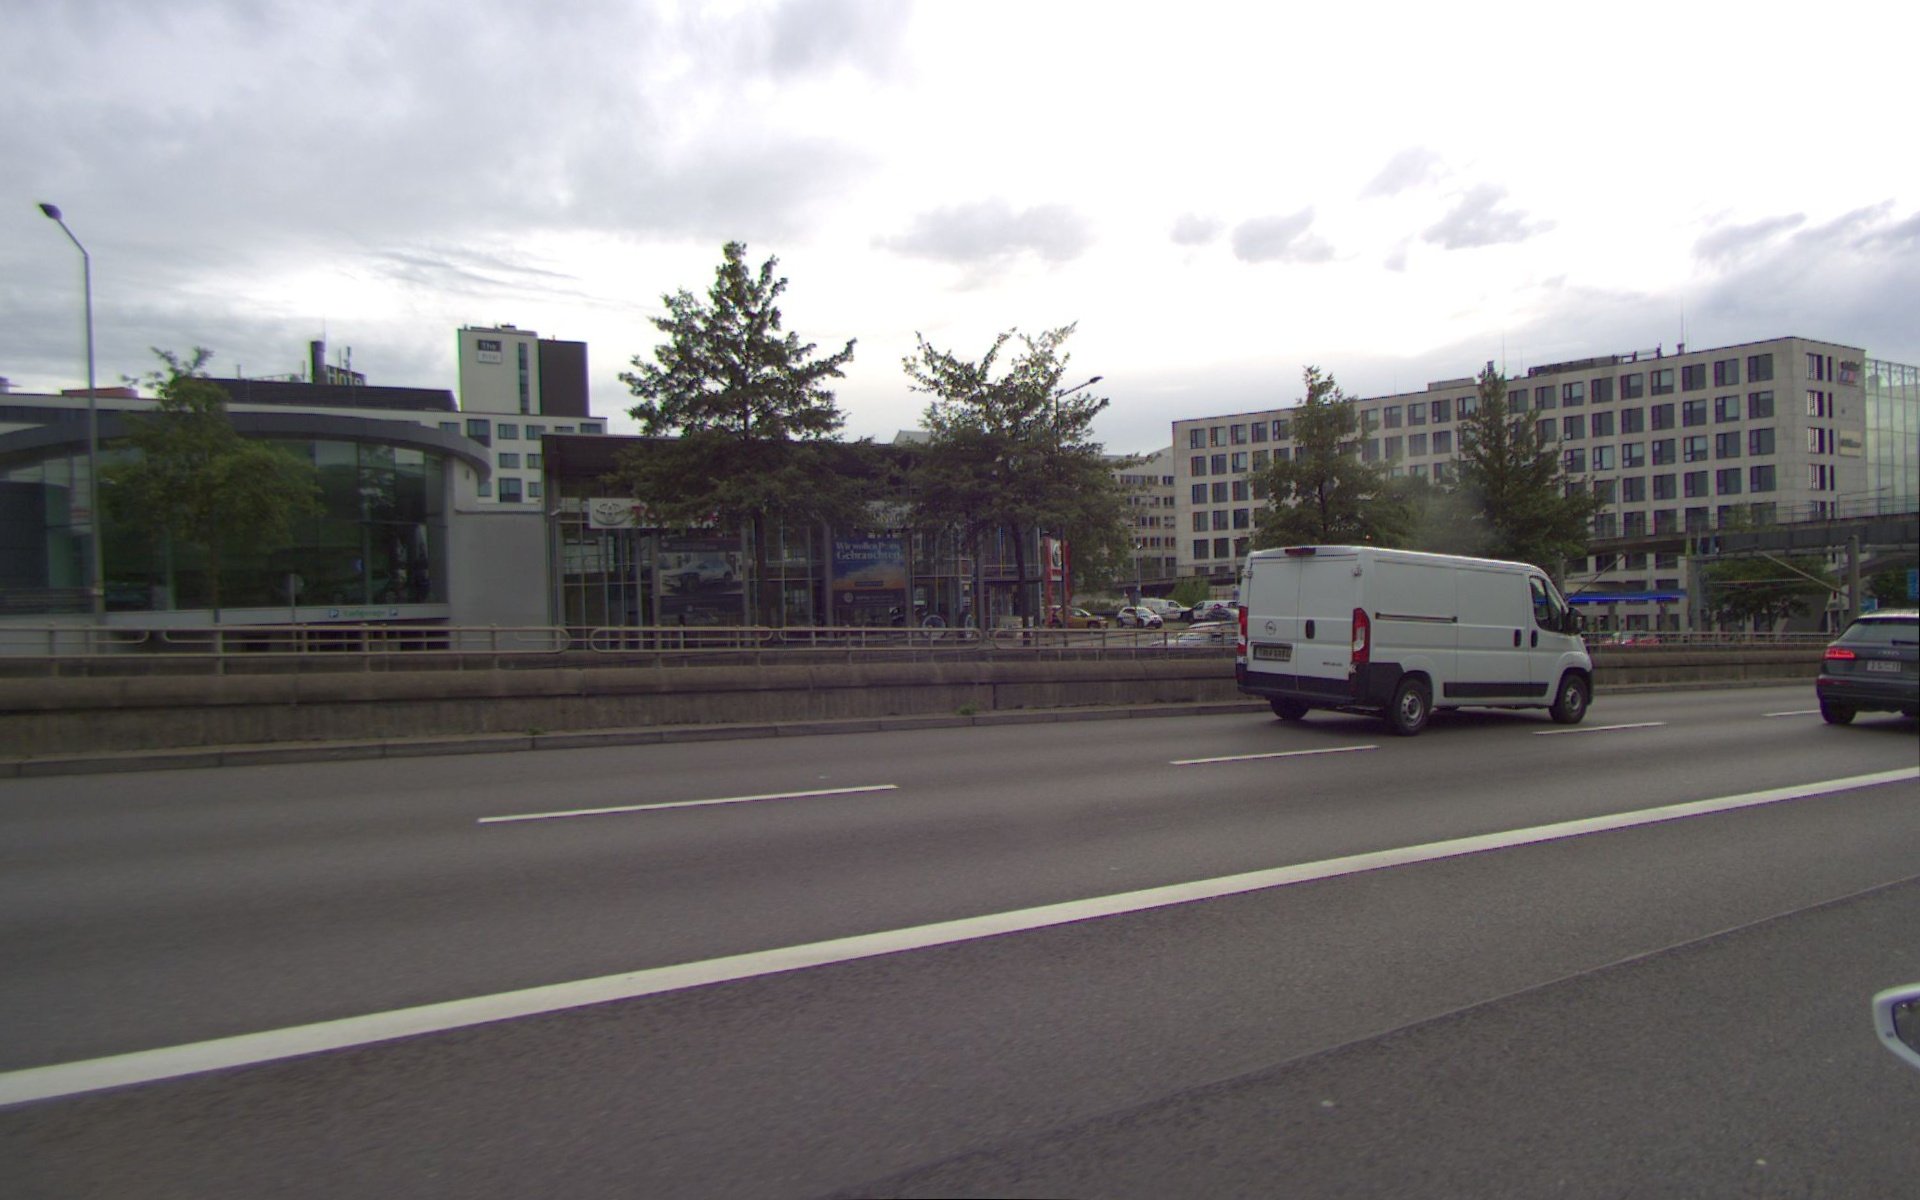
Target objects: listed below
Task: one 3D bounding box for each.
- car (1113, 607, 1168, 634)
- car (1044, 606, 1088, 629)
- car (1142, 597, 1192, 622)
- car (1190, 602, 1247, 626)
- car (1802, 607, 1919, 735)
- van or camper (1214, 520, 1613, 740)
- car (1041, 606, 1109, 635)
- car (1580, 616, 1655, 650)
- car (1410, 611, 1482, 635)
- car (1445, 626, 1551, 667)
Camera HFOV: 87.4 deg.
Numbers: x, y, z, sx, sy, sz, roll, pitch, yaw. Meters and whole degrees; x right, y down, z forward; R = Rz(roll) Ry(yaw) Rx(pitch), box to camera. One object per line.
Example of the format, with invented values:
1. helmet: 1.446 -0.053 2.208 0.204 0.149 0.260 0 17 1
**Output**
1. car: 12.817 1.421 71.472 1.972 1.673 3.976 -2 2 -24
2. car: 8.574 1.394 81.559 1.971 1.673 3.978 -2 2 -22
3. car: 17.797 0.834 86.435 3.923 2.076 1.998 0 2 23
4. car: 19.585 1.027 76.144 1.977 1.673 3.967 -2 2 -31
5. car: 14.145 0.963 14.478 4.696 1.639 1.741 1 -1 -32
6. van or camper: 6.243 0.387 13.625 5.466 2.471 2.193 1 -1 -30
7. car: 7.251 1.263 63.047 3.920 1.673 2.000 0 2 17
8. car: 37.138 1.862 56.687 4.056 1.801 1.983 1 1 -31
9. car: 31.925 1.488 66.097 1.826 1.372 3.972 0 1 -27
10. car: 22.461 1.950 41.941 3.946 1.605 1.988 3 -3 -25
